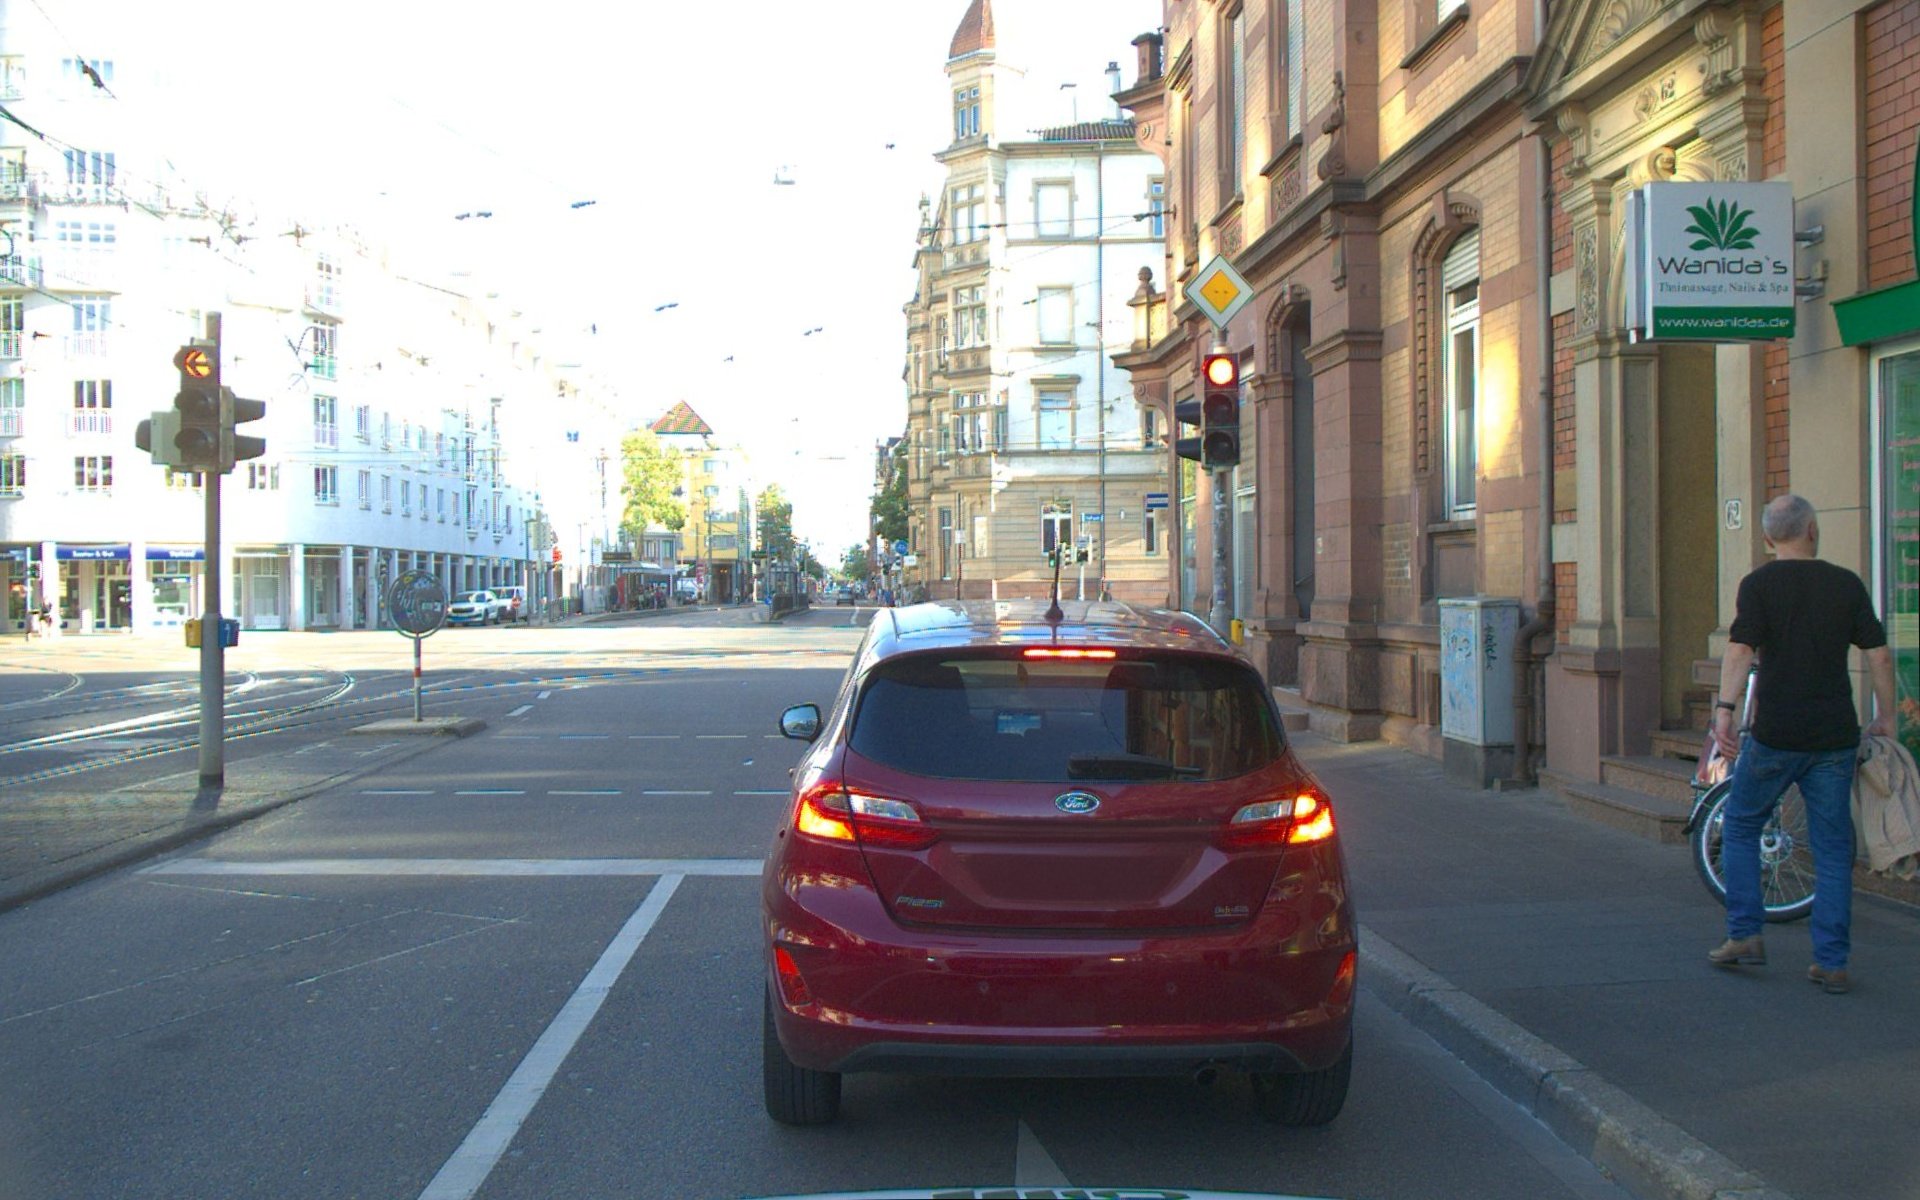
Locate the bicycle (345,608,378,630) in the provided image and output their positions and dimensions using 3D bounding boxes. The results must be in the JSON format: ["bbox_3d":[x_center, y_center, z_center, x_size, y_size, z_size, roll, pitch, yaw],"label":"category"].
[{"bbox_3d":[-27.238,0.836,75.330,0.824,0.943,2.263,-1,1,-4],"label":"bicycle"}]

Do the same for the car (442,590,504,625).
[{"bbox_3d":[-23.536,0.340,80.095,1.954,1.648,4.506,-1,0,-4],"label":"car"}]

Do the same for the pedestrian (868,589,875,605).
[{"bbox_3d":[-9.128,-0.306,170.516,0.735,1.690,0.650,1,-1,-1],"label":"pedestrian"}]

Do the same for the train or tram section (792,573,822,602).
[{"bbox_3d":[-19.773,-1.522,214.437,2.827,3.551,14.944,1,0,-2],"label":"train or tram section"}]

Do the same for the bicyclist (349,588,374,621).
[{"bbox_3d":[-27.247,0.186,75.340,0.824,1.493,0.896,-1,0,-4],"label":"bicyclist"}]

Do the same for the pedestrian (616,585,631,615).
[{"bbox_3d":[-19.595,-0.006,96.209,0.687,1.721,0.666,0,0,-28],"label":"pedestrian"}]

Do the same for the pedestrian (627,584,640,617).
[{"bbox_3d":[-19.772,0.028,100.265,0.682,1.938,0.671,0,0,-7],"label":"pedestrian"}]

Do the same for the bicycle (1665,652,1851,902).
[{"bbox_3d":[3.681,0.778,7.705,0.337,1.013,1.241,-2,0,5],"label":"bicycle"}]

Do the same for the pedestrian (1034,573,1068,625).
[{"bbox_3d":[3.225,-0.039,58.635,1.003,1.838,1.081,-1,0,-7],"label":"pedestrian"}]

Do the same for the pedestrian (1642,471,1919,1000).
[{"bbox_3d":[3.021,0.447,5.941,0.760,1.753,0.754,-2,0,-4],"label":"pedestrian"}]

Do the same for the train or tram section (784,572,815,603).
[{"bbox_3d":[-19.351,-1.505,199.871,2.827,3.551,14.162,1,0,-2],"label":"train or tram section"}]

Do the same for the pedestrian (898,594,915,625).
[{"bbox_3d":[-2.474,0.439,76.157,0.703,1.354,0.795,-2,-1,-6],"label":"pedestrian"}]

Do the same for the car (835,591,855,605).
[{"bbox_3d":[-11.692,-0.213,168.549,1.954,1.475,3.997,0,0,-4],"label":"car"}]

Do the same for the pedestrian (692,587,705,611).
[{"bbox_3d":[-20.861,-0.096,131.763,0.865,1.938,0.929,0,0,-20],"label":"pedestrian"}]

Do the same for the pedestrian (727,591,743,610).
[{"bbox_3d":[-23.555,0.032,173.120,1.324,1.938,1.465,0,0,-20],"label":"pedestrian"}]

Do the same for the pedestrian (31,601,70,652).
[{"bbox_3d":[-31.530,0.922,57.343,0.850,1.711,0.697,-1,2,4],"label":"pedestrian"}]

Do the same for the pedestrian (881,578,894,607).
[{"bbox_3d":[-4.727,-0.506,108.422,0.700,1.805,0.772,-3,1,-7],"label":"pedestrian"}]

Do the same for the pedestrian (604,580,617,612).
[{"bbox_3d":[-19.029,-0.197,90.158,0.587,1.721,0.613,-1,0,-4],"label":"pedestrian"}]

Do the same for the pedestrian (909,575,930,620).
[{"bbox_3d":[-1.724,-0.109,69.663,0.785,1.855,0.797,-2,1,-4],"label":"pedestrian"}]

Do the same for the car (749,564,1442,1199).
[{"bbox_3d":[0.307,0.675,5.799,1.657,1.521,3.579,1,0,-1],"label":"car"}]

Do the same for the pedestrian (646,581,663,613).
[{"bbox_3d":[-18.906,-0.185,102.408,0.914,1.938,0.880,0,0,-7],"label":"pedestrian"}]

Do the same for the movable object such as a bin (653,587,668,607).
[{"bbox_3d":[-19.747,-0.167,108.969,0.919,1.309,0.933,-1,0,-6],"label":"movable object such as a bin"}]

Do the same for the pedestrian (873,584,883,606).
[{"bbox_3d":[-7.070,-0.406,141.817,0.700,1.805,0.772,-3,1,-7],"label":"pedestrian"}]

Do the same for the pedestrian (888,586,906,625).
[{"bbox_3d":[-2.935,0.260,77.019,0.703,1.751,0.795,-2,-1,-6],"label":"pedestrian"}]

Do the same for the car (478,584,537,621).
[{"bbox_3d":[-23.973,0.086,87.804,1.954,1.869,5.342,-1,0,-4],"label":"car"}]
